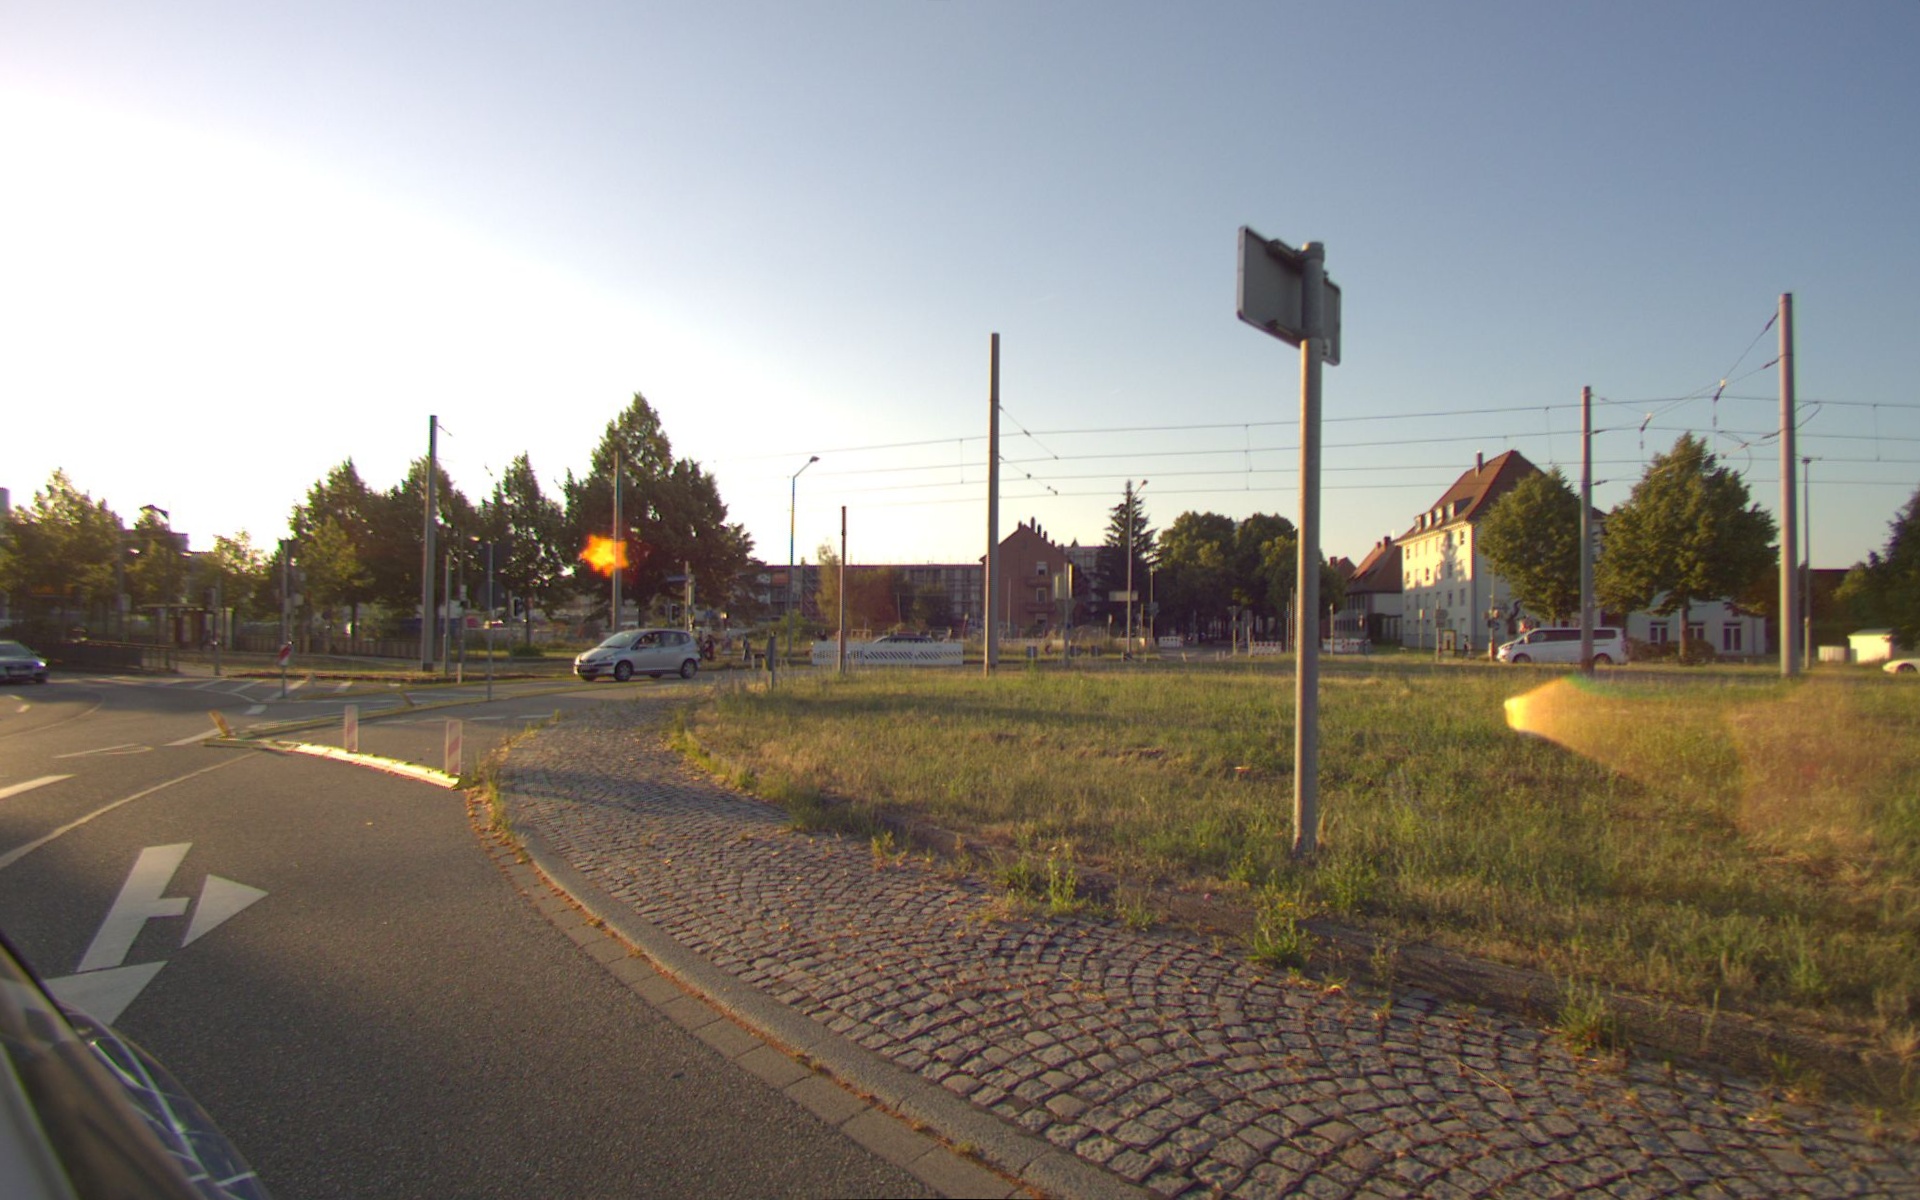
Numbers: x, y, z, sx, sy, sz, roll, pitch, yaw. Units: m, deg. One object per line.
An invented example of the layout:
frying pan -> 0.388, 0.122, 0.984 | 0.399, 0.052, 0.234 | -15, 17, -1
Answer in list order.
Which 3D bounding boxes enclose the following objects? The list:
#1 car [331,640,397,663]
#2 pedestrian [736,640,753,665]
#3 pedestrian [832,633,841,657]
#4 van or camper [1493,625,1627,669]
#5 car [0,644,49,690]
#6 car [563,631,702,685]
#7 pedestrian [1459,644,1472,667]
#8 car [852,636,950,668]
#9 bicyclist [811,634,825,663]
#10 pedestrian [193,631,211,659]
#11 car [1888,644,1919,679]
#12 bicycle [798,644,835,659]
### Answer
car -> -35.841, 3.097, 60.814 | 3.987, 1.342, 1.814 | -2, -2, 33
pedestrian -> -12.217, 2.968, 57.374 | 0.693, 1.377, 0.612 | -2, -2, 33
pedestrian -> -7.340, 2.670, 60.122 | 0.496, 1.377, 0.434 | 0, -2, -2
van or camper -> 28.566, 2.245, 48.411 | 5.274, 2.025, 1.898 | -2, -2, 26
car -> -31.803, 2.182, 33.638 | 4.447, 1.434, 1.778 | -2, -3, 42
car -> -9.515, 1.660, 29.624 | 1.603, 1.476, 3.667 | -2, -3, 34
pedestrian -> 34.972, 3.838, 69.978 | 0.587, 1.634, 0.565 | -1, -2, 6
car -> -2.861, 2.476, 48.563 | 4.578, 1.426, 1.934 | 0, -2, -7
bicyclist -> -8.112, 2.744, 57.772 | 0.785, 1.646, 0.697 | 0, -2, -11
pedestrian -> -45.454, 2.692, 60.671 | 0.444, 1.645, 0.702 | -1, -2, 27
car -> 37.333, 2.317, 37.752 | 1.554, 1.265, 3.789 | 0, -1, -37
bicycle -> -8.208, 2.925, 57.853 | 2.100, 0.852, 0.513 | 0, -2, -11
